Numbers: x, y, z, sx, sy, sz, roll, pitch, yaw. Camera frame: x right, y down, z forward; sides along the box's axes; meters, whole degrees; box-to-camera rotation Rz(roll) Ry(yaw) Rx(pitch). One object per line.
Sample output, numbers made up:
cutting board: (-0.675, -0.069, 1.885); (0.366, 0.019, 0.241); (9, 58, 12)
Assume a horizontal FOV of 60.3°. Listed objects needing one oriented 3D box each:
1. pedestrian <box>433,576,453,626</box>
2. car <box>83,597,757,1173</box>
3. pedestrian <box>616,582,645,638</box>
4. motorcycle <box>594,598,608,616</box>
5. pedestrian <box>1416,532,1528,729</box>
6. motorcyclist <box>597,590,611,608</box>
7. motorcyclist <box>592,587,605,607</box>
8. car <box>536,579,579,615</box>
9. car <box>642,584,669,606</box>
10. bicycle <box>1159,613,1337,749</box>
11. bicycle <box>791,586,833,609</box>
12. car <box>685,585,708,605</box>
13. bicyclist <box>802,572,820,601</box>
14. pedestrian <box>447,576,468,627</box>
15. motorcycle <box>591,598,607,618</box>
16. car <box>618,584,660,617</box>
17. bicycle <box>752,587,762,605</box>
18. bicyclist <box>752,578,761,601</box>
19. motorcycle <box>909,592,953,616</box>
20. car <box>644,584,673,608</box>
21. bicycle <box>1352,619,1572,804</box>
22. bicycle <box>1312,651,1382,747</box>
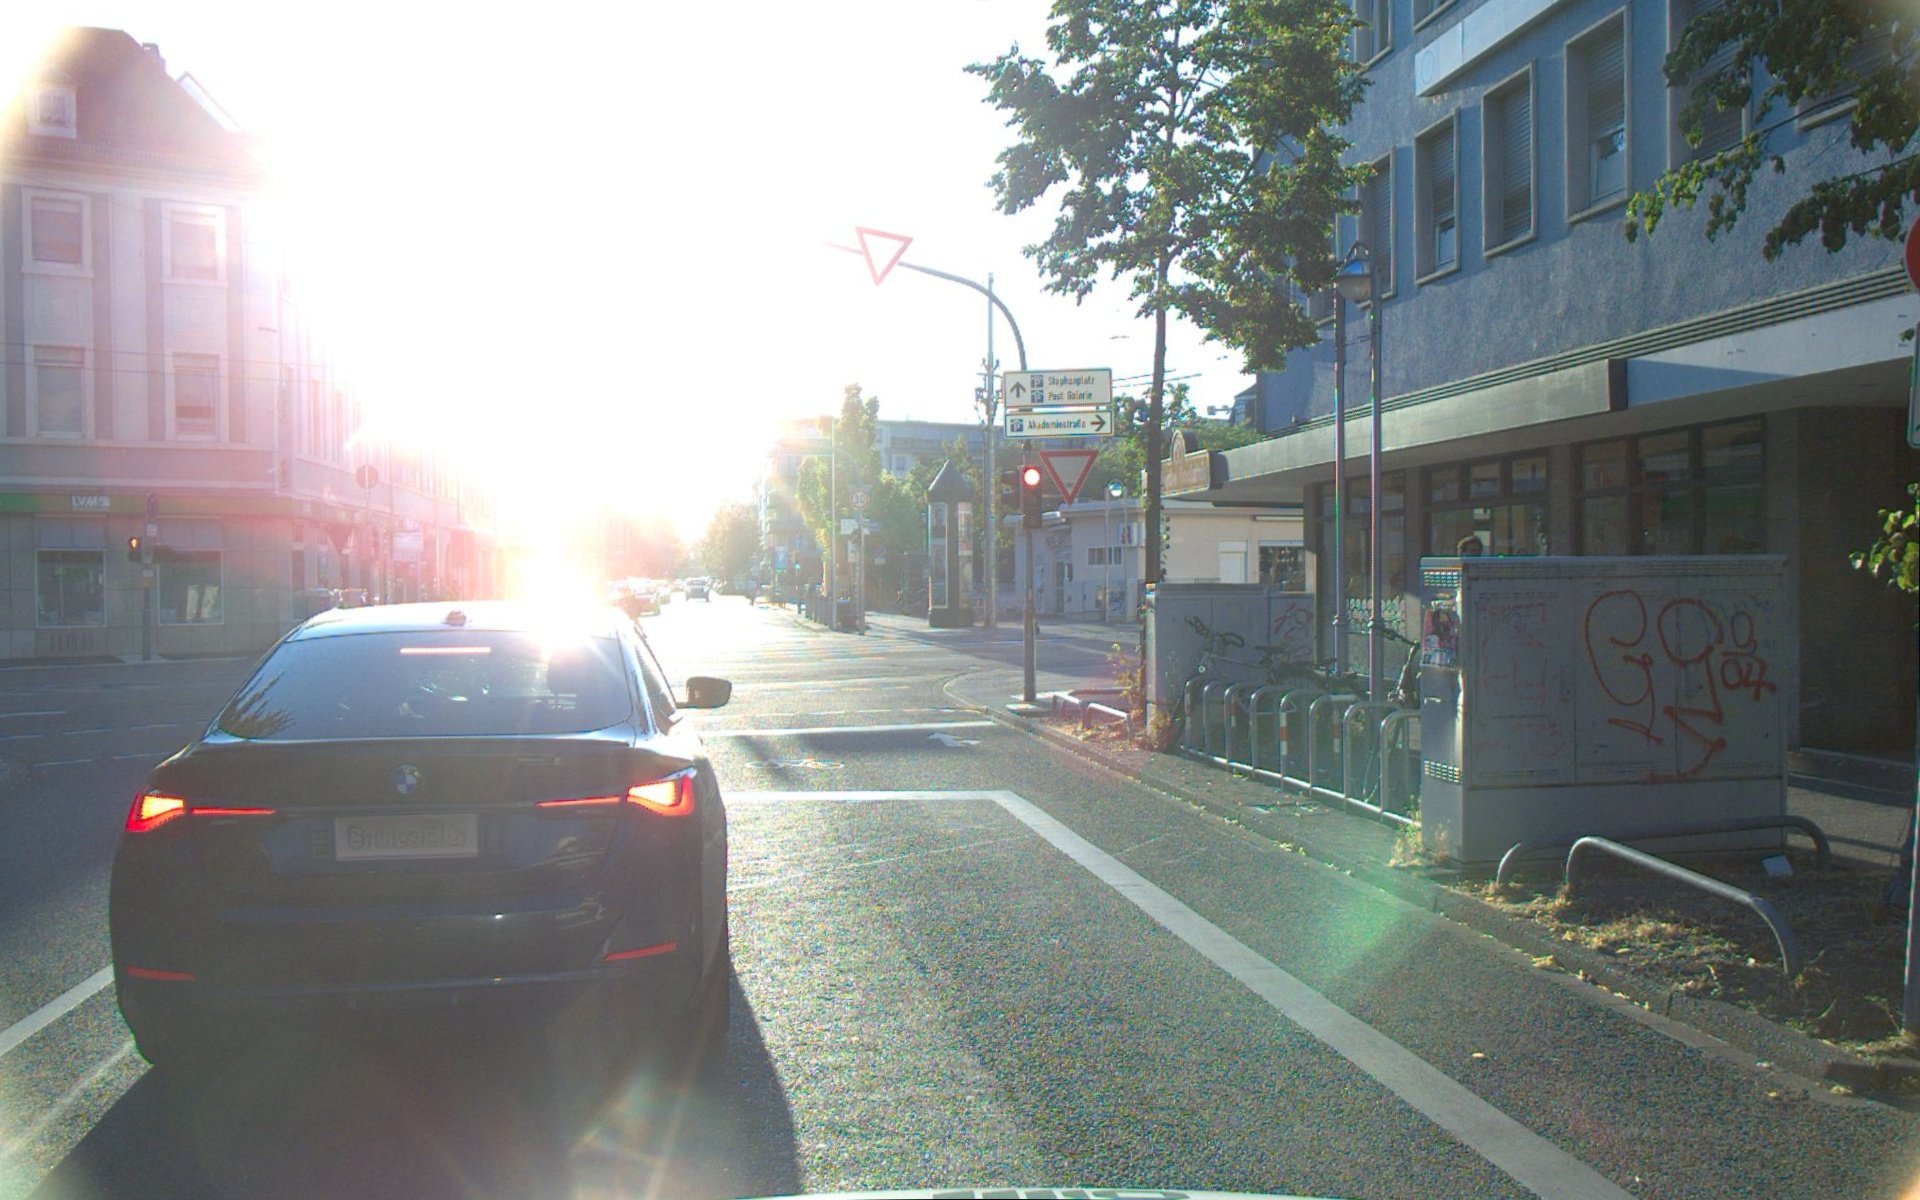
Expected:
pedestrian: (-19.683, 0.037, 62.975); (0.631, 1.909, 0.630); (1, 0, -9)
car: (-1.751, 0.726, 6.457); (1.705, 1.453, 4.214); (0, 0, -10)
pedestrian: (-9.215, 0.276, 46.297); (0.722, 1.555, 0.470); (1, 0, -20)
motorcycle: (-18.705, 0.353, 86.129); (0.564, 0.931, 2.196); (1, 0, -8)
pedestrian: (5.009, 0.286, 16.212); (0.820, 1.874, 0.677); (-1, 0, -9)
motorcyclist: (-18.525, -0.070, 86.074); (0.564, 0.931, 2.196); (1, 0, -8)
motorcyclist: (-17.809, -0.154, 81.593); (0.564, 1.013, 0.701); (1, 0, -9)
car: (-21.090, -0.185, 86.778); (1.784, 1.819, 3.992); (-1, 1, -9)
car: (-22.588, -0.378, 122.895); (1.784, 1.545, 3.992); (-1, 1, -9)
bicycle: (2.642, 0.734, 15.185); (1.582, 1.191, 0.318); (-1, 0, -7)
bicycle: (-7.952, -0.141, 88.874); (2.166, 1.223, 0.620); (1, 0, 2)
car: (-21.053, -0.420, 132.377); (1.784, 1.545, 3.992); (-1, 1, -9)
bicyclist: (-8.008, -0.728, 88.882); (0.865, 1.532, 0.612); (1, 0, 3)
pedestrian: (-19.026, 0.050, 62.611); (0.664, 1.909, 0.616); (1, 0, -9)
motorcycle: (-17.864, 0.385, 81.861); (0.564, 0.931, 2.196); (1, 0, -8)
car: (-15.540, -0.006, 80.281); (1.784, 1.545, 3.992); (-1, 1, -9)
bicycle: (-13.477, -0.284, 109.659); (0.540, 1.179, 2.139); (1, 0, -10)
bicyclist: (-13.492, -0.670, 109.740); (0.540, 1.507, 0.721); (1, 0, -10)
motorcycle: (-1.200, 0.157, 67.859); (1.644, 0.955, 0.851); (-1, 1, -20)
car: (-20.548, -0.290, 112.723); (1.784, 1.545, 3.992); (-1, 1, -9)
bicycle: (3.465, 0.763, 11.441); (1.413, 1.241, 0.383); (1, 0, -8)
bicycle: (3.564, 0.899, 15.271); (0.245, 0.810, 1.114); (1, 0, -7)
